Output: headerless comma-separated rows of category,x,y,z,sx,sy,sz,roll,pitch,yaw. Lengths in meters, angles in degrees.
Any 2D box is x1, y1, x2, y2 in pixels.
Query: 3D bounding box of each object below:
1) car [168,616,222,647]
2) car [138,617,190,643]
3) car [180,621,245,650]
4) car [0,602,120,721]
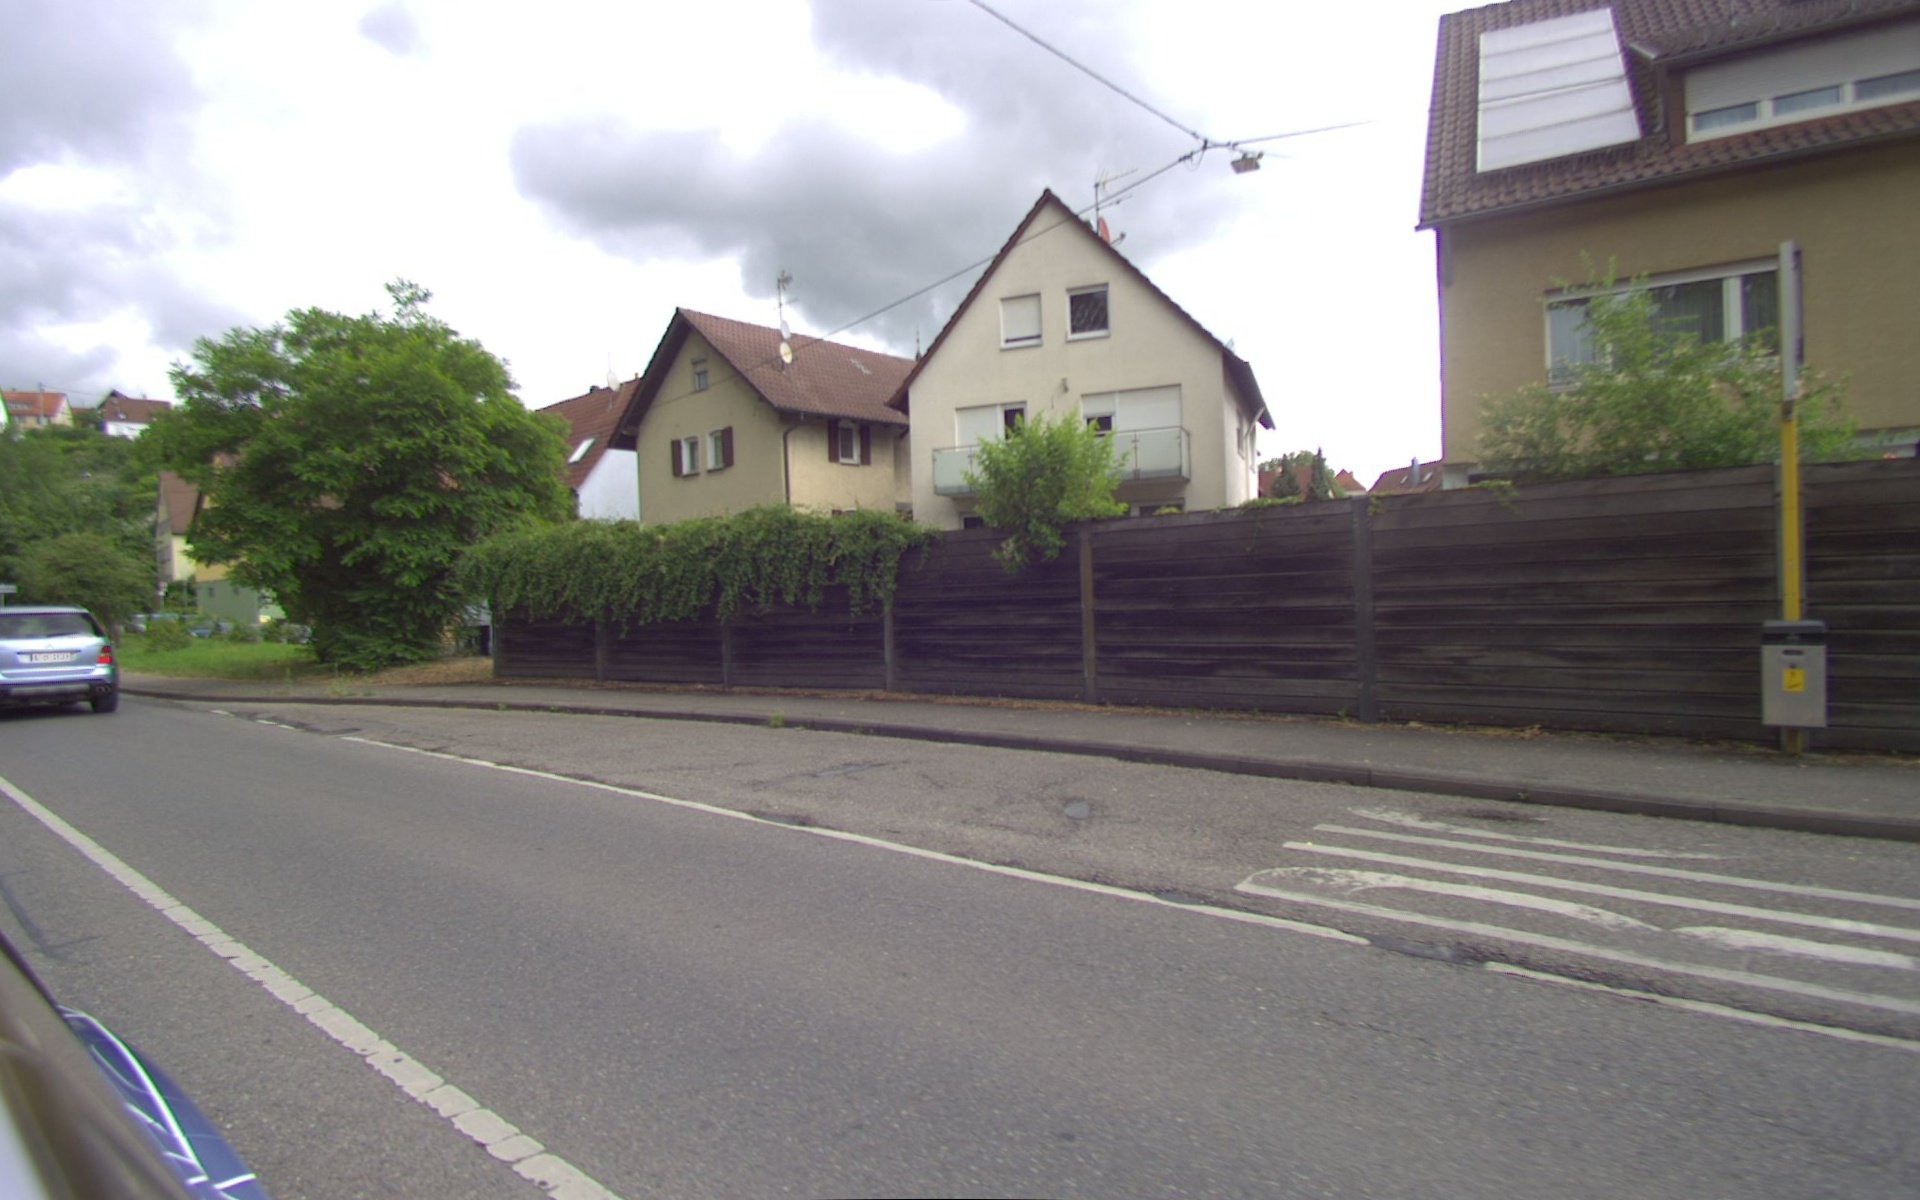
car,-43.538,1.767,57.557,4.000,1.630,1.792,-1,-1,43
car,-52.086,1.953,66.206,4.447,1.630,1.972,-1,-1,42
car,-35.308,1.657,47.779,1.970,1.287,4.003,0,-1,-44
car,-15.611,0.955,16.649,4.687,1.737,1.916,-2,-1,40
